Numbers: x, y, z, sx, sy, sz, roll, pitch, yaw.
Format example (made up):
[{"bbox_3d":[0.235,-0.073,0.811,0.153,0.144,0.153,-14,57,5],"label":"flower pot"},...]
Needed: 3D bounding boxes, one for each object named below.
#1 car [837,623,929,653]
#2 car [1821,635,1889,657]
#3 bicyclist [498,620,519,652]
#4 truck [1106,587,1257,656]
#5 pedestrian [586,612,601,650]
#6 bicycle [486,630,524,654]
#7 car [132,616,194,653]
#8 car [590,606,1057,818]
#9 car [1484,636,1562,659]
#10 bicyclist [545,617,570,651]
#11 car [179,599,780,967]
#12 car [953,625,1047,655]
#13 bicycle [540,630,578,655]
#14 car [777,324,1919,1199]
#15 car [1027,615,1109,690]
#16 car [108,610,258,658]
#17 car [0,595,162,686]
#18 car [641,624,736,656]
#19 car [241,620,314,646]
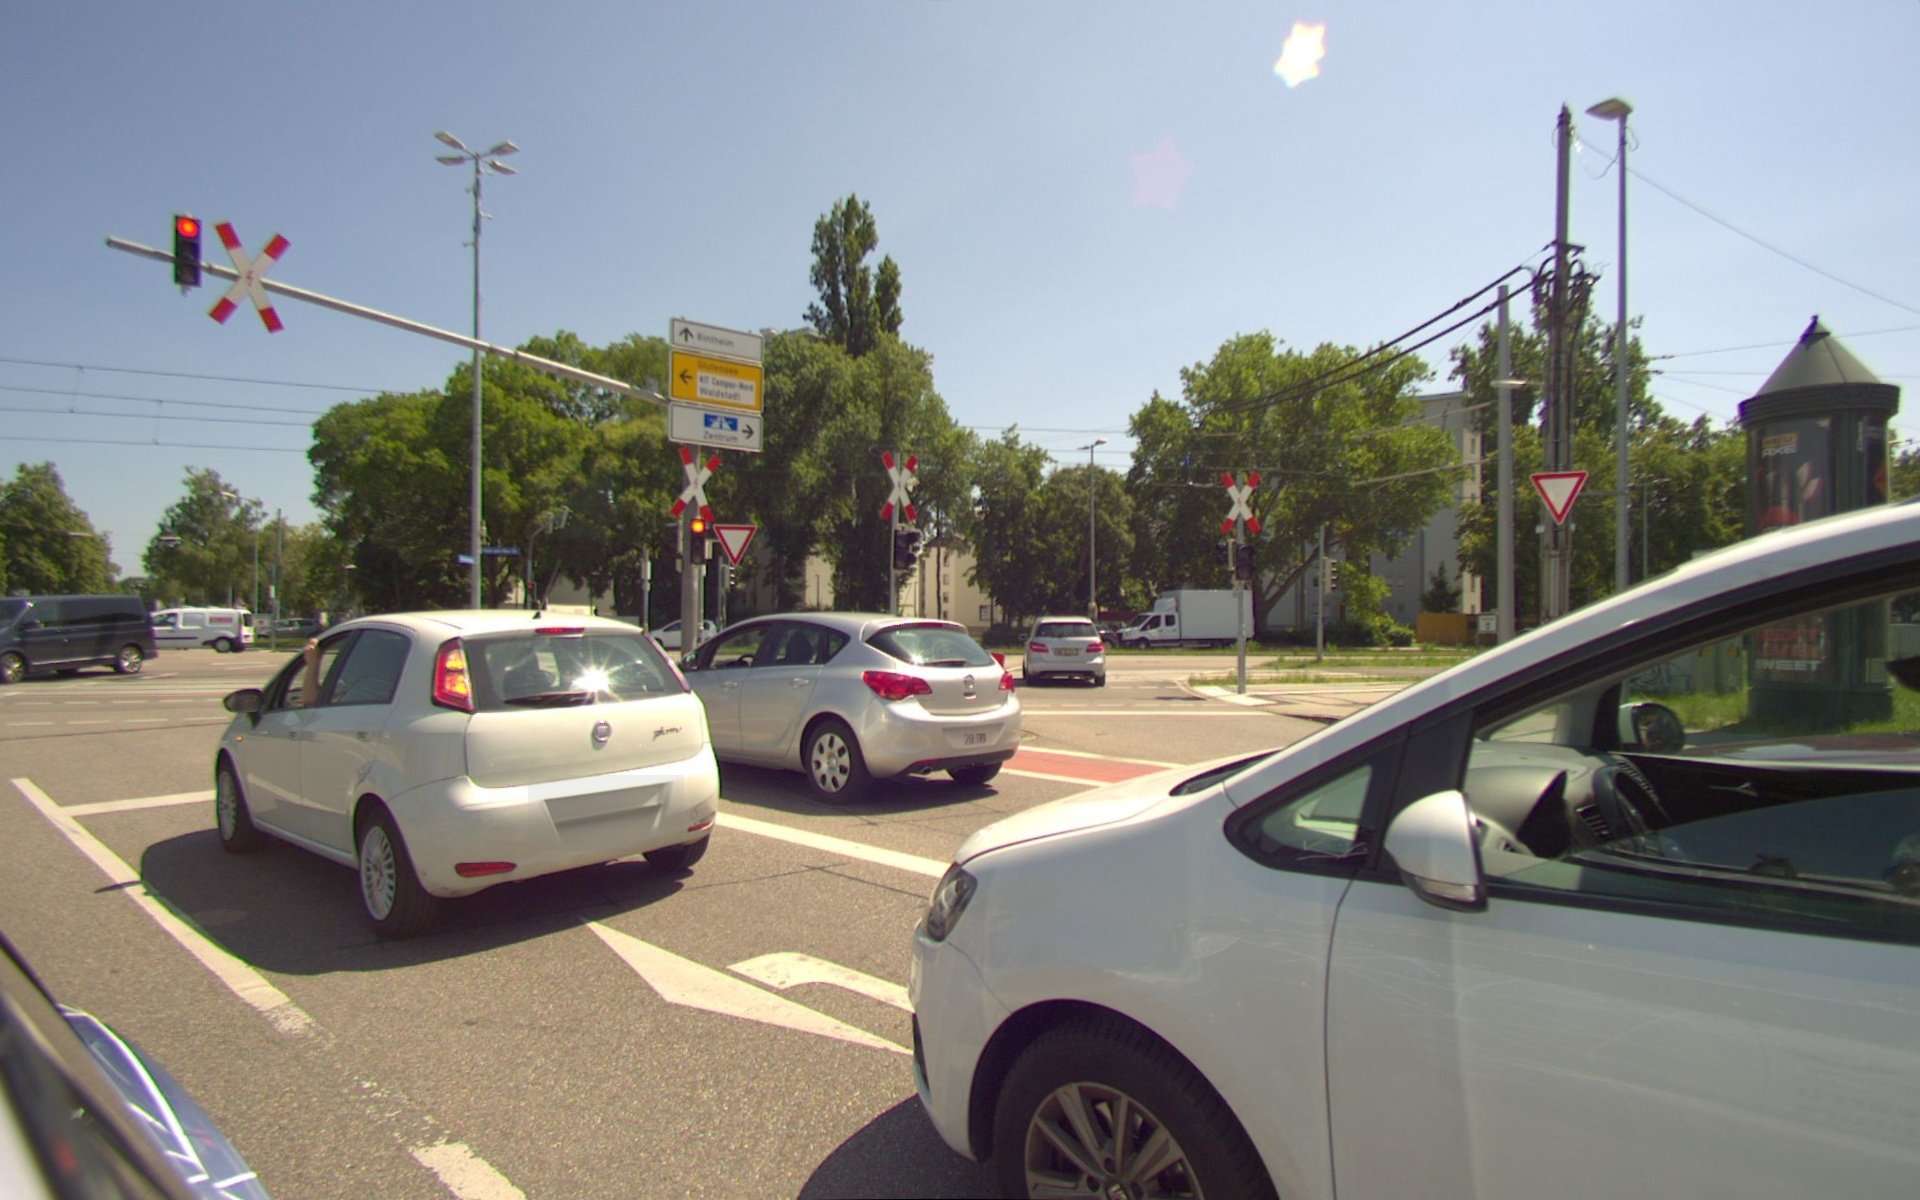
[{"bbox_3d":[-3.758,1.852,49.172,4.142,1.436,1.854,1,-3,-17],"label":"car"},{"bbox_3d":[56.724,2.911,64.139,3.582,1.296,1.610,1,-4,-20],"label":"car"},{"bbox_3d":[-20.935,1.658,46.910,0.626,1.479,0.610,2,0,27],"label":"bicyclist"},{"bbox_3d":[11.932,1.218,54.641,7.579,3.560,2.596,0,-4,-17],"label":"truck"},{"bbox_3d":[-17.942,1.526,49.505,0.667,1.849,0.610,1,-1,-20],"label":"pedestrian"},{"bbox_3d":[-21.123,1.941,47.000,1.797,1.071,0.610,0,0,27],"label":"bicycle"},{"bbox_3d":[-38.911,1.686,49.380,4.344,1.731,1.785,-3,-3,44],"label":"car"},{"bbox_3d":[-1.420,0.833,9.158,4.412,1.467,1.772,-1,-3,42],"label":"car"},{"bbox_3d":[33.859,2.862,60.877,3.931,1.296,1.892,1,-4,-20],"label":"car"},{"bbox_3d":[-19.096,1.589,48.037,0.905,1.556,0.642,2,0,27],"label":"bicyclist"},{"bbox_3d":[-3.019,0.749,5.969,3.958,1.448,1.750,-1,-1,41],"label":"car"},{"bbox_3d":[1.831,1.835,46.524,3.931,1.296,1.752,1,-4,-20],"label":"car"},{"bbox_3d":[-19.029,1.998,47.996,1.797,1.071,0.610,2,0,27],"label":"bicycle"},{"bbox_3d":[1.939,0.558,1.557,4.829,1.736,1.792,-1,-2,42],"label":"car"},{"bbox_3d":[2.471,1.266,23.826,1.724,1.558,4.251,1,-4,4],"label":"car"},{"bbox_3d":[-30.732,1.353,40.187,4.317,1.807,1.902,1,-4,-19],"label":"car"},{"bbox_3d":[-21.461,0.904,23.356,1.919,1.946,4.836,0,-1,7],"label":"car"},{"bbox_3d":[-12.538,1.825,46.653,4.142,1.436,1.854,1,-3,-18],"label":"car"},{"bbox_3d":[-40.917,1.948,60.699,3.440,1.439,1.586,0,-3,-44],"label":"car"}]
